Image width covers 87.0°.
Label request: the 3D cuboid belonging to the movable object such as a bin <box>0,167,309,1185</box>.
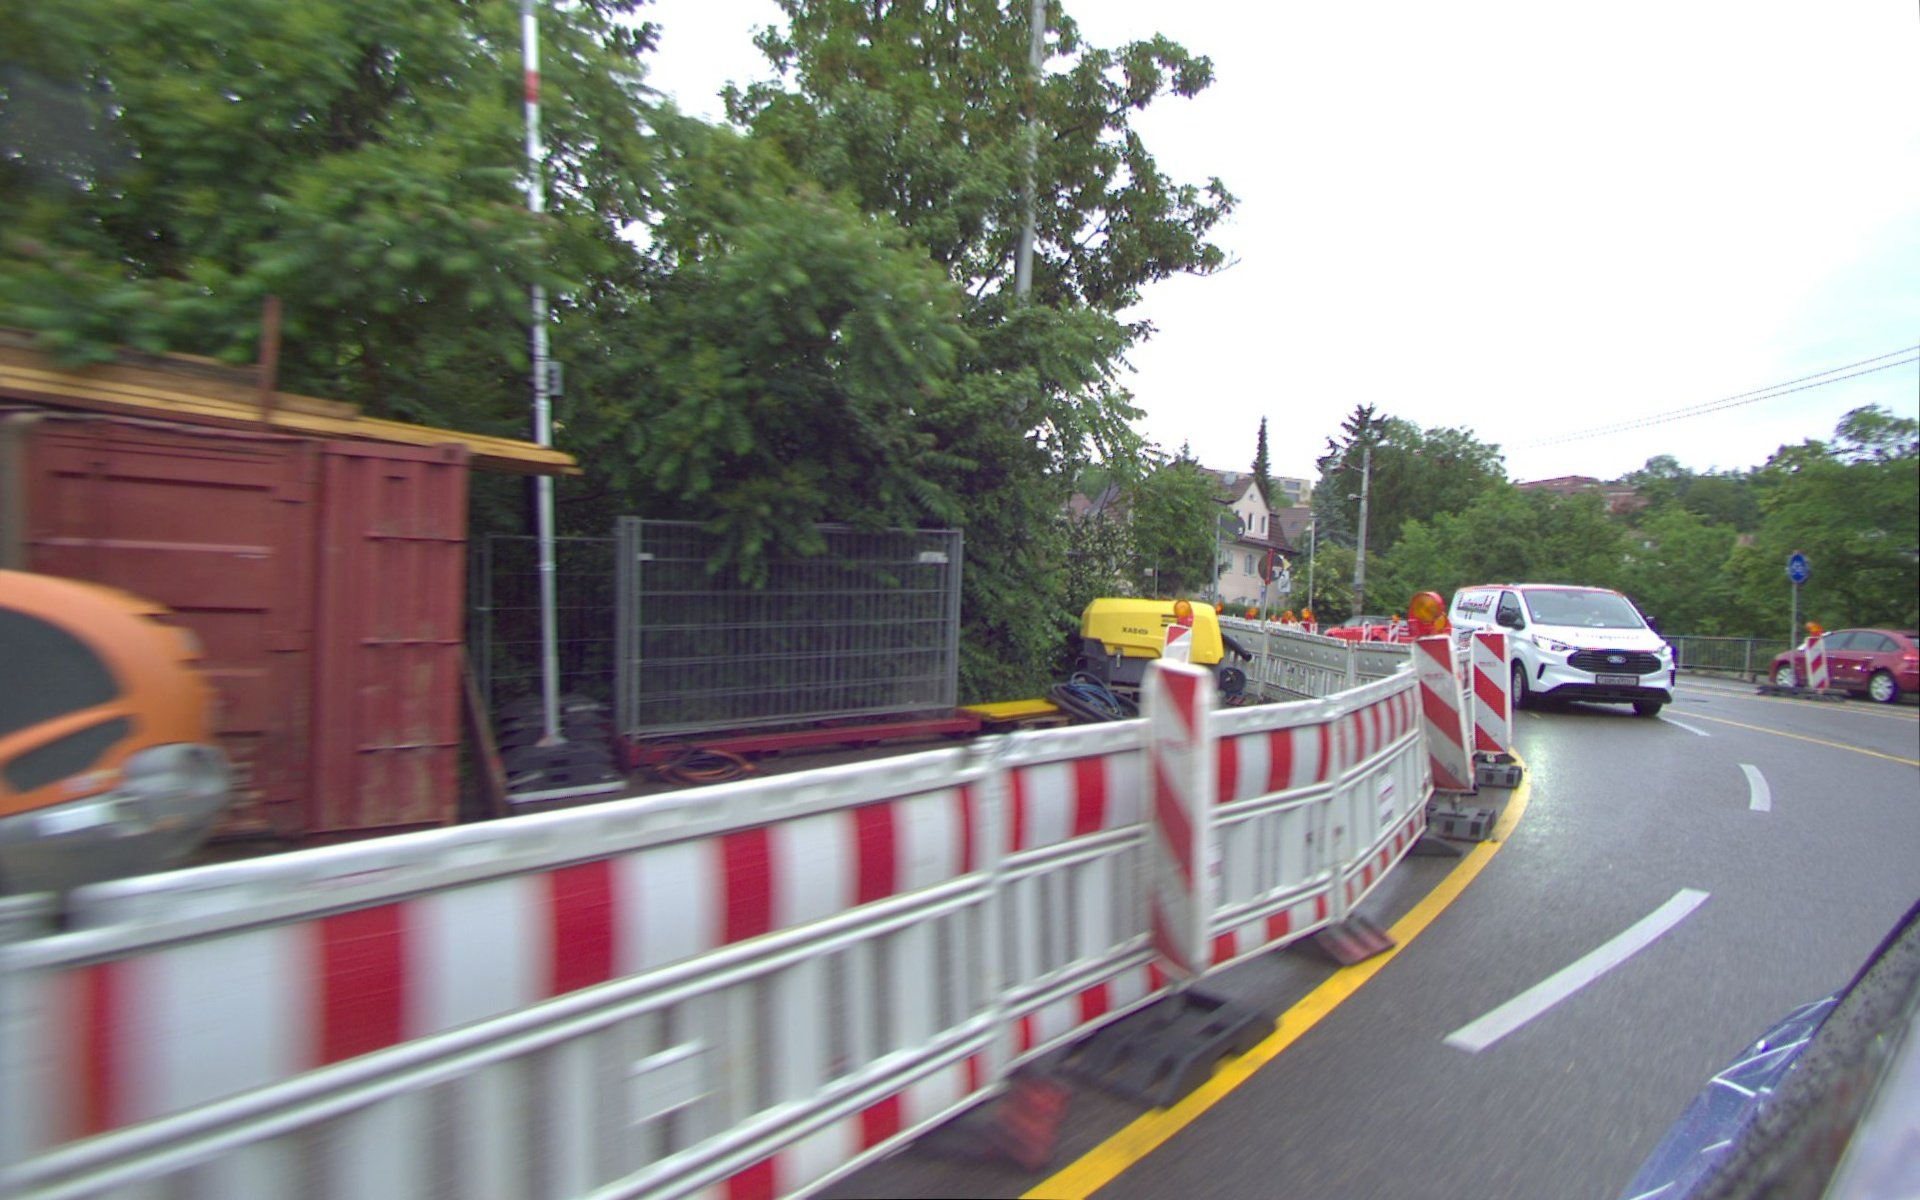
[{"bbox_3d":[-5.363,0.056,3.185,5.176,3.269,2.084,6,-4,-29],"label":"movable object such as a bin"}]

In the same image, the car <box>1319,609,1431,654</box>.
[{"bbox_3d":[16.058,1.187,39.365,1.655,1.415,4.146,4,0,-19],"label":"car"}]

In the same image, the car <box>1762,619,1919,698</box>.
[{"bbox_3d":[19.253,1.172,21.050,1.932,1.458,4.316,2,-1,5],"label":"car"}]

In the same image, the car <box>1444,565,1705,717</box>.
[{"bbox_3d":[9.800,0.546,16.701,1.969,2.039,4.933,3,1,11],"label":"car"}]
